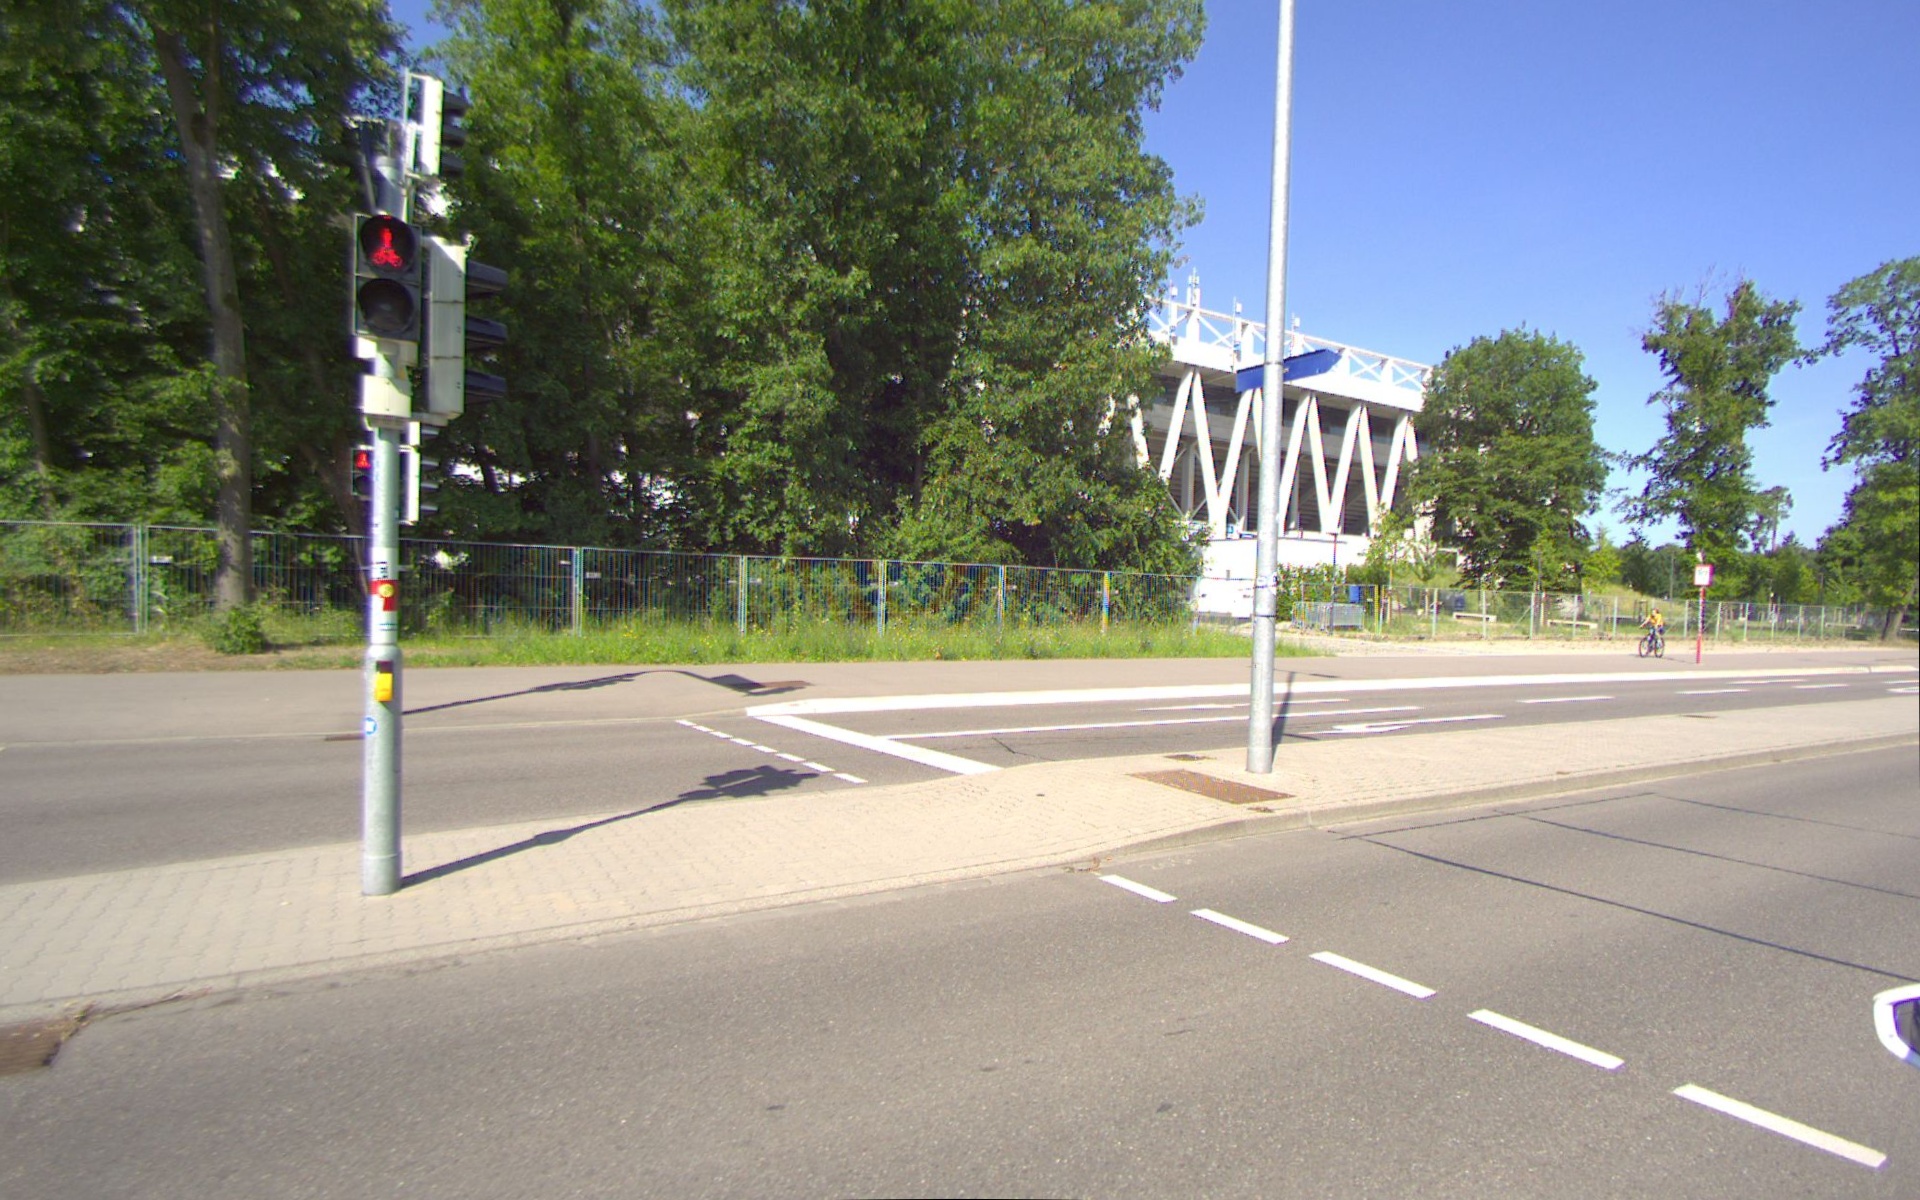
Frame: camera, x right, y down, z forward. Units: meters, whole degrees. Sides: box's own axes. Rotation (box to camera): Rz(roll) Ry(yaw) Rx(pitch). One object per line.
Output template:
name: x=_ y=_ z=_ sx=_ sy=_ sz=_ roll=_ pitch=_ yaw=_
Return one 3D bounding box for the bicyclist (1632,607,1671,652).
bicyclist: x=23.721 y=1.020 z=34.442 sx=1.045 sy=1.487 sz=0.656 roll=1 pitch=2 yaw=-31

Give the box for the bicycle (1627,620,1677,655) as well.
bicycle: x=23.800 y=1.286 z=34.526 sx=1.857 sy=1.151 sz=0.656 roll=1 pitch=2 yaw=-31
